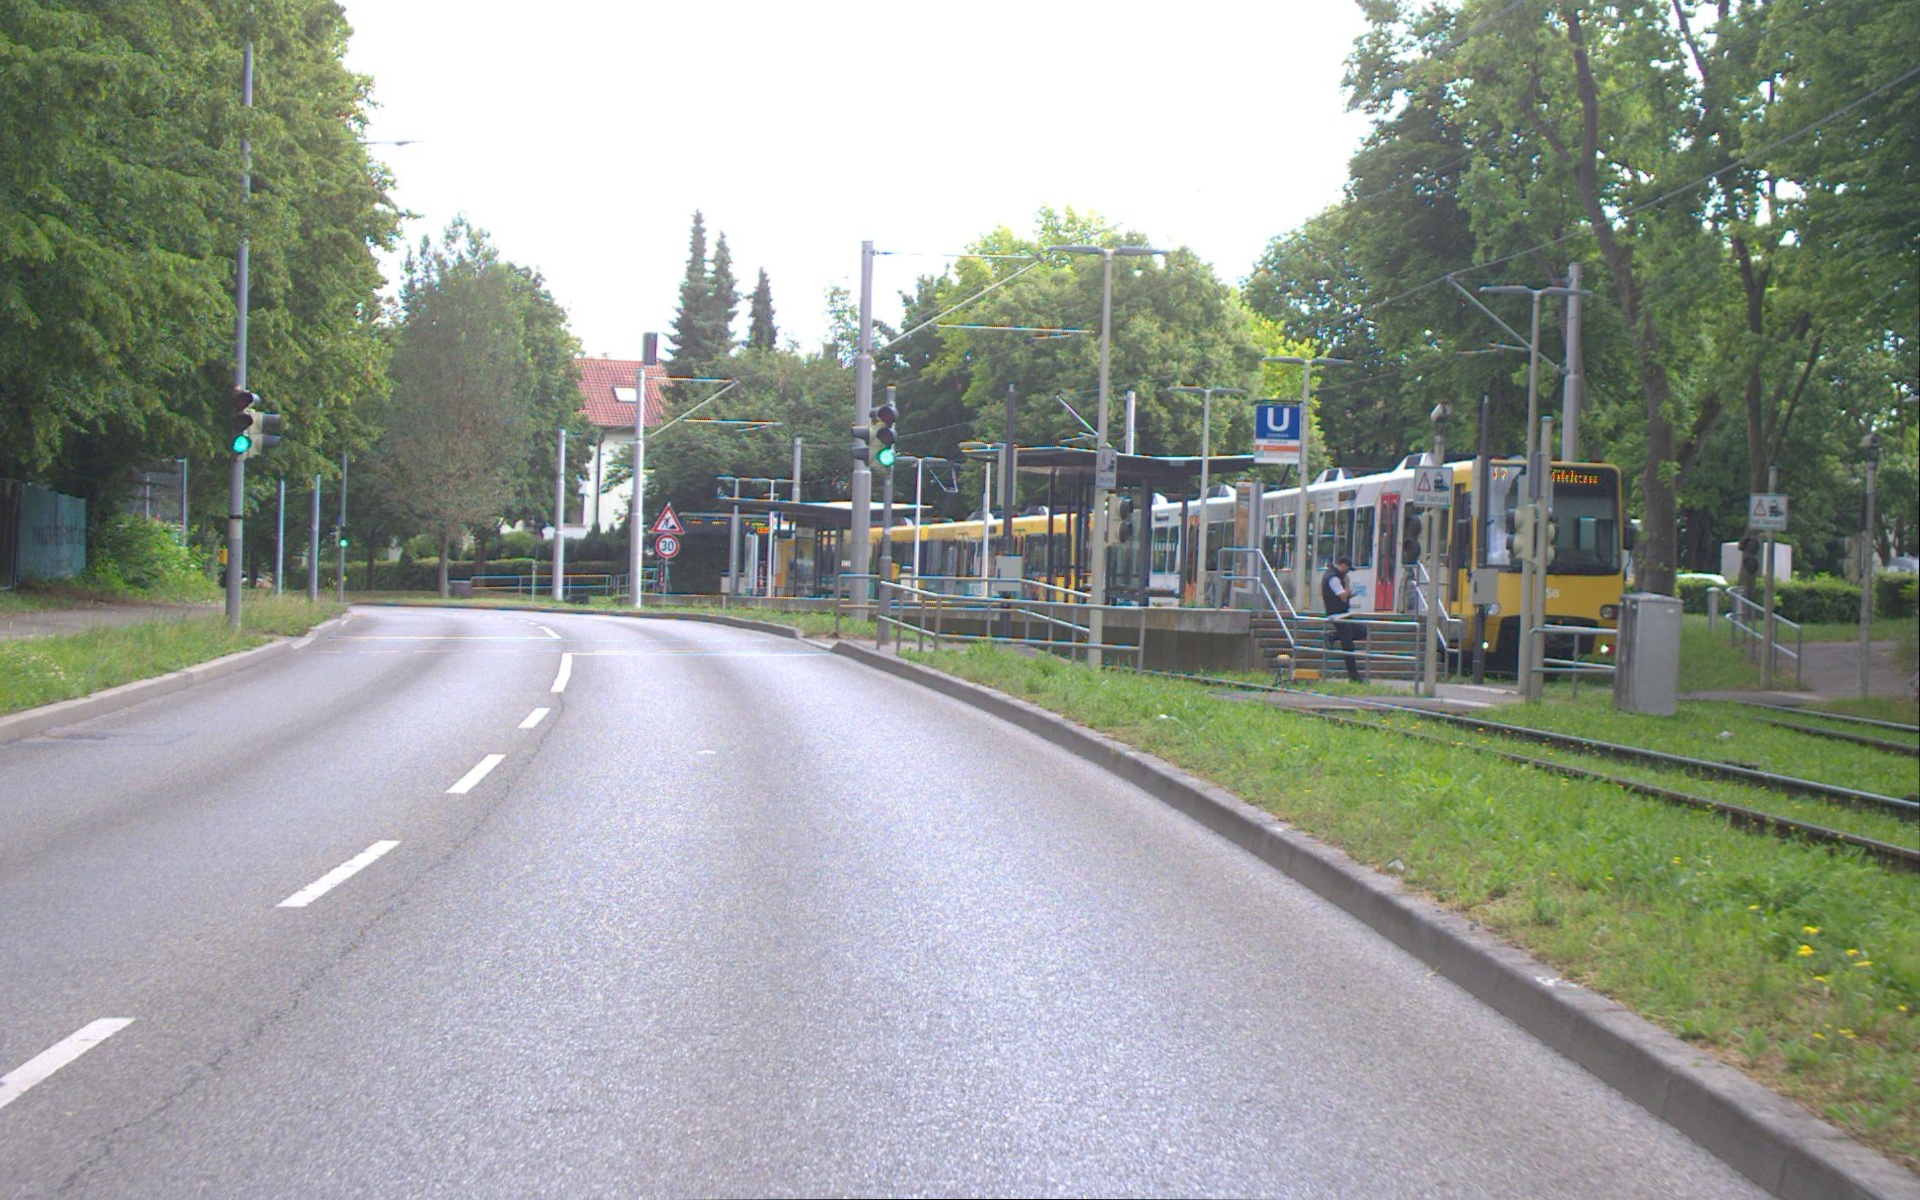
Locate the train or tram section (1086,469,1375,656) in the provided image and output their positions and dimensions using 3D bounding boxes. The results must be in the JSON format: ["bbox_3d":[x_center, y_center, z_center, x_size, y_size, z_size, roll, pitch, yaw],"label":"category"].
[{"bbox_3d":[6.000,-0.808,81.305,2.813,3.786,18.937,3,0,-7],"label":"train or tram section"}]

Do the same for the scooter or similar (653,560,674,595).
[{"bbox_3d":[-10.920,-0.825,126.526,0.429,1.249,1.255,0,-2,-22],"label":"scooter or similar"}]

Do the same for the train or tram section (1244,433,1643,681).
[{"bbox_3d":[8.259,-0.679,62.492,2.813,3.724,18.535,3,0,-5],"label":"train or tram section"}]

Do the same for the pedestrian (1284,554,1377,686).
[{"bbox_3d":[5.056,0.271,46.959,0.983,1.752,0.730,2,1,-15],"label":"pedestrian"}]
